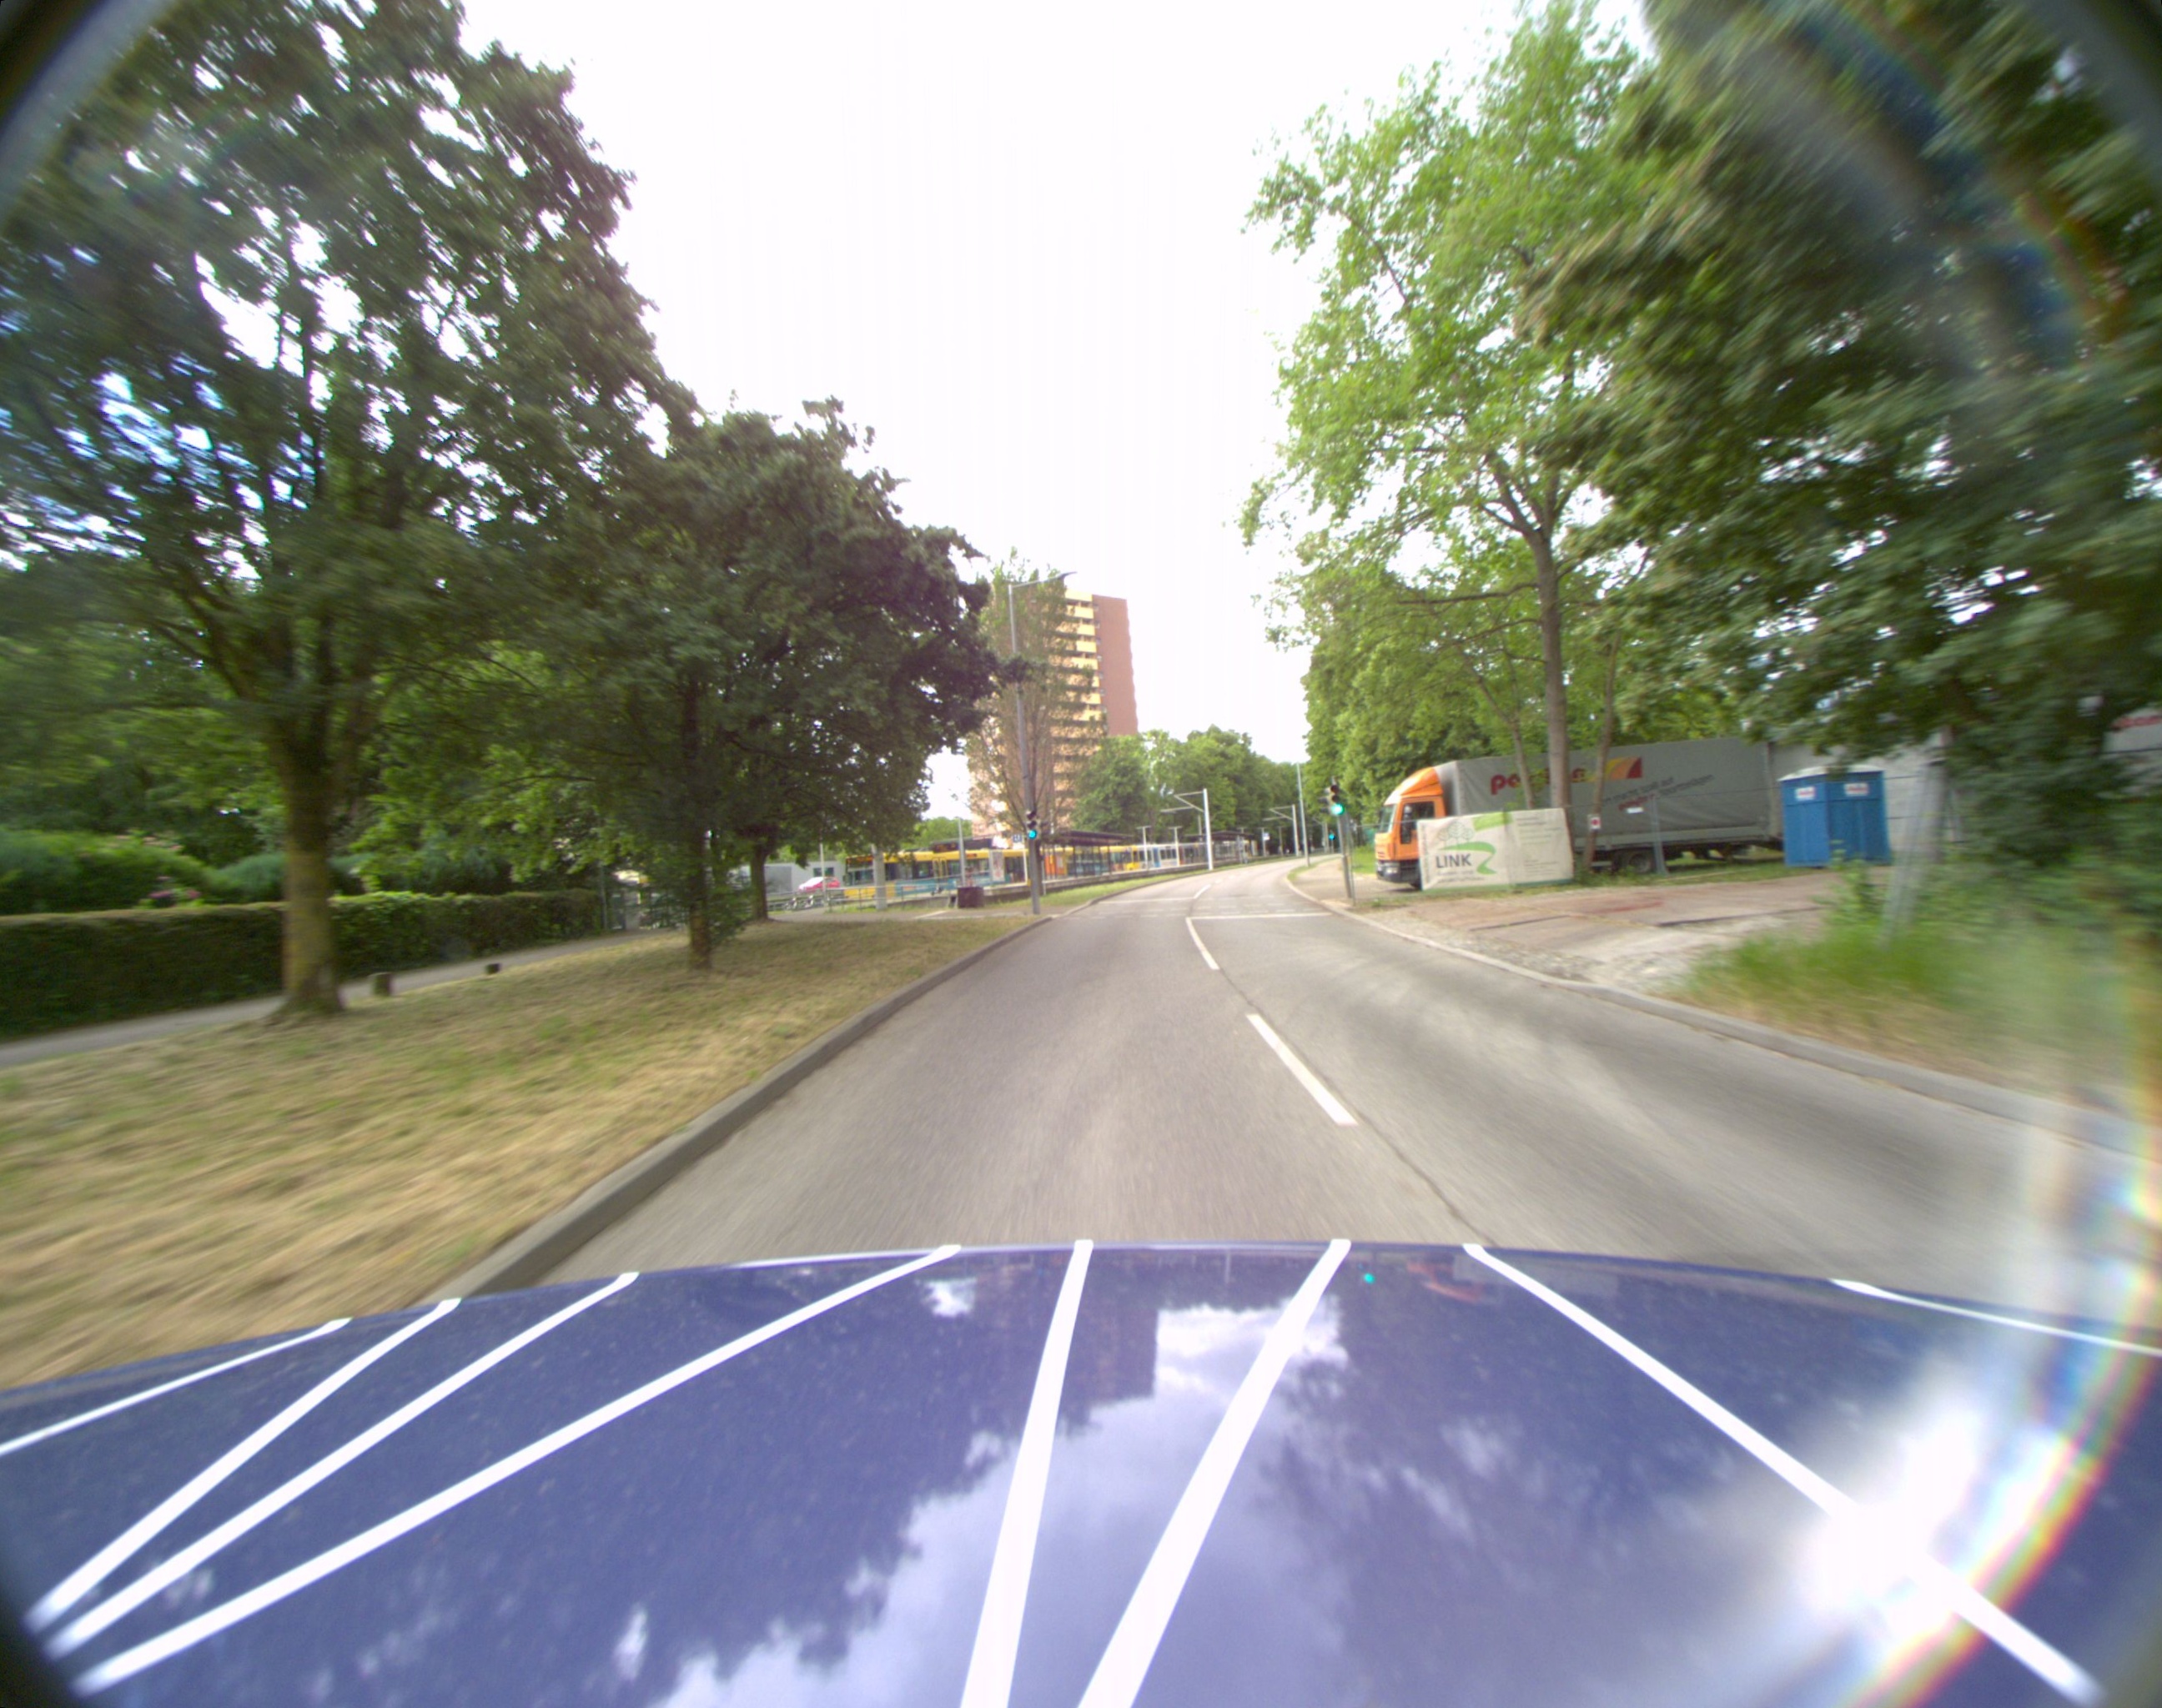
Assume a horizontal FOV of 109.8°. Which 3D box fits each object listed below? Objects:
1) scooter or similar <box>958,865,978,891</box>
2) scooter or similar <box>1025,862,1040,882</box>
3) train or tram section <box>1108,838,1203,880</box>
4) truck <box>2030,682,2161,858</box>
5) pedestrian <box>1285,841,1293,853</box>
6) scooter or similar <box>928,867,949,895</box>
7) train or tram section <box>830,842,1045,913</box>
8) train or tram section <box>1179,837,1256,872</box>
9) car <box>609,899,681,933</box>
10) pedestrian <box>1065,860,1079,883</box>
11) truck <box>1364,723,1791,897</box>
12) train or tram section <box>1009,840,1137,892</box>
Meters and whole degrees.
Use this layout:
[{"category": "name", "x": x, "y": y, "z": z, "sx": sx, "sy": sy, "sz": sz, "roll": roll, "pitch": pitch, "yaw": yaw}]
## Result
[{"category": "scooter or similar", "x": -5.793, "y": 1.209, "z": 38.944, "sx": 0.430, "sy": 1.246, "sz": 1.256, "roll": -4, "pitch": 2, "yaw": 16}, {"category": "scooter or similar", "x": -3.118, "y": 1.141, "z": 49.277, "sx": 0.368, "sy": 1.235, "sz": 1.148, "roll": -5, "pitch": -1, "yaw": 24}, {"category": "train or tram section", "x": 8.817, "y": 0.364, "z": 84.967, "sx": 2.816, "sy": 3.775, "sz": 18.965, "roll": -7, "pitch": -2, "yaw": 29}, {"category": "truck", "x": 22.937, "y": -1.773, "z": 14.874, "sx": 5.914, "sy": 3.179, "sz": 2.453, "roll": -4, "pitch": -2, "yaw": -6}, {"category": "pedestrian", "x": 30.623, "y": -1.010, "z": 111.845, "sx": 0.985, "sy": 1.747, "sz": 0.731, "roll": -6, "pitch": -2, "yaw": 22}, {"category": "scooter or similar", "x": -7.021, "y": 1.320, "z": 37.476, "sx": 0.430, "sy": 1.246, "sz": 1.255, "roll": -4, "pitch": 2, "yaw": 13}, {"category": "train or tram section", "x": -8.252, "y": 1.128, "z": 49.858, "sx": 2.817, "sy": 3.566, "sz": 19.544, "roll": -7, "pitch": -2, "yaw": 24}, {"category": "train or tram section", "x": 18.515, "y": -0.073, "z": 101.221, "sx": 2.816, "sy": 3.713, "sz": 18.564, "roll": -7, "pitch": -2, "yaw": 32}, {"category": "car", "x": -31.255, "y": 4.423, "z": 54.585, "sx": 1.900, "sy": 2.002, "sz": 4.006, "roll": -4, "pitch": 0, "yaw": 25}, {"category": "pedestrian", "x": -0.637, "y": 1.261, "z": 54.573, "sx": 0.623, "sy": 1.563, "sz": 0.666, "roll": -5, "pitch": 0, "yaw": 42}, {"category": "truck", "x": 12.929, "y": -1.051, "z": 20.689, "sx": 9.247, "sy": 3.511, "sz": 2.567, "roll": -5, "pitch": 0, "yaw": 11}, {"category": "train or tram section", "x": -0.010, "y": 0.771, "z": 67.789, "sx": 2.817, "sy": 3.713, "sz": 19.545, "roll": -7, "pitch": -2, "yaw": 25}]
